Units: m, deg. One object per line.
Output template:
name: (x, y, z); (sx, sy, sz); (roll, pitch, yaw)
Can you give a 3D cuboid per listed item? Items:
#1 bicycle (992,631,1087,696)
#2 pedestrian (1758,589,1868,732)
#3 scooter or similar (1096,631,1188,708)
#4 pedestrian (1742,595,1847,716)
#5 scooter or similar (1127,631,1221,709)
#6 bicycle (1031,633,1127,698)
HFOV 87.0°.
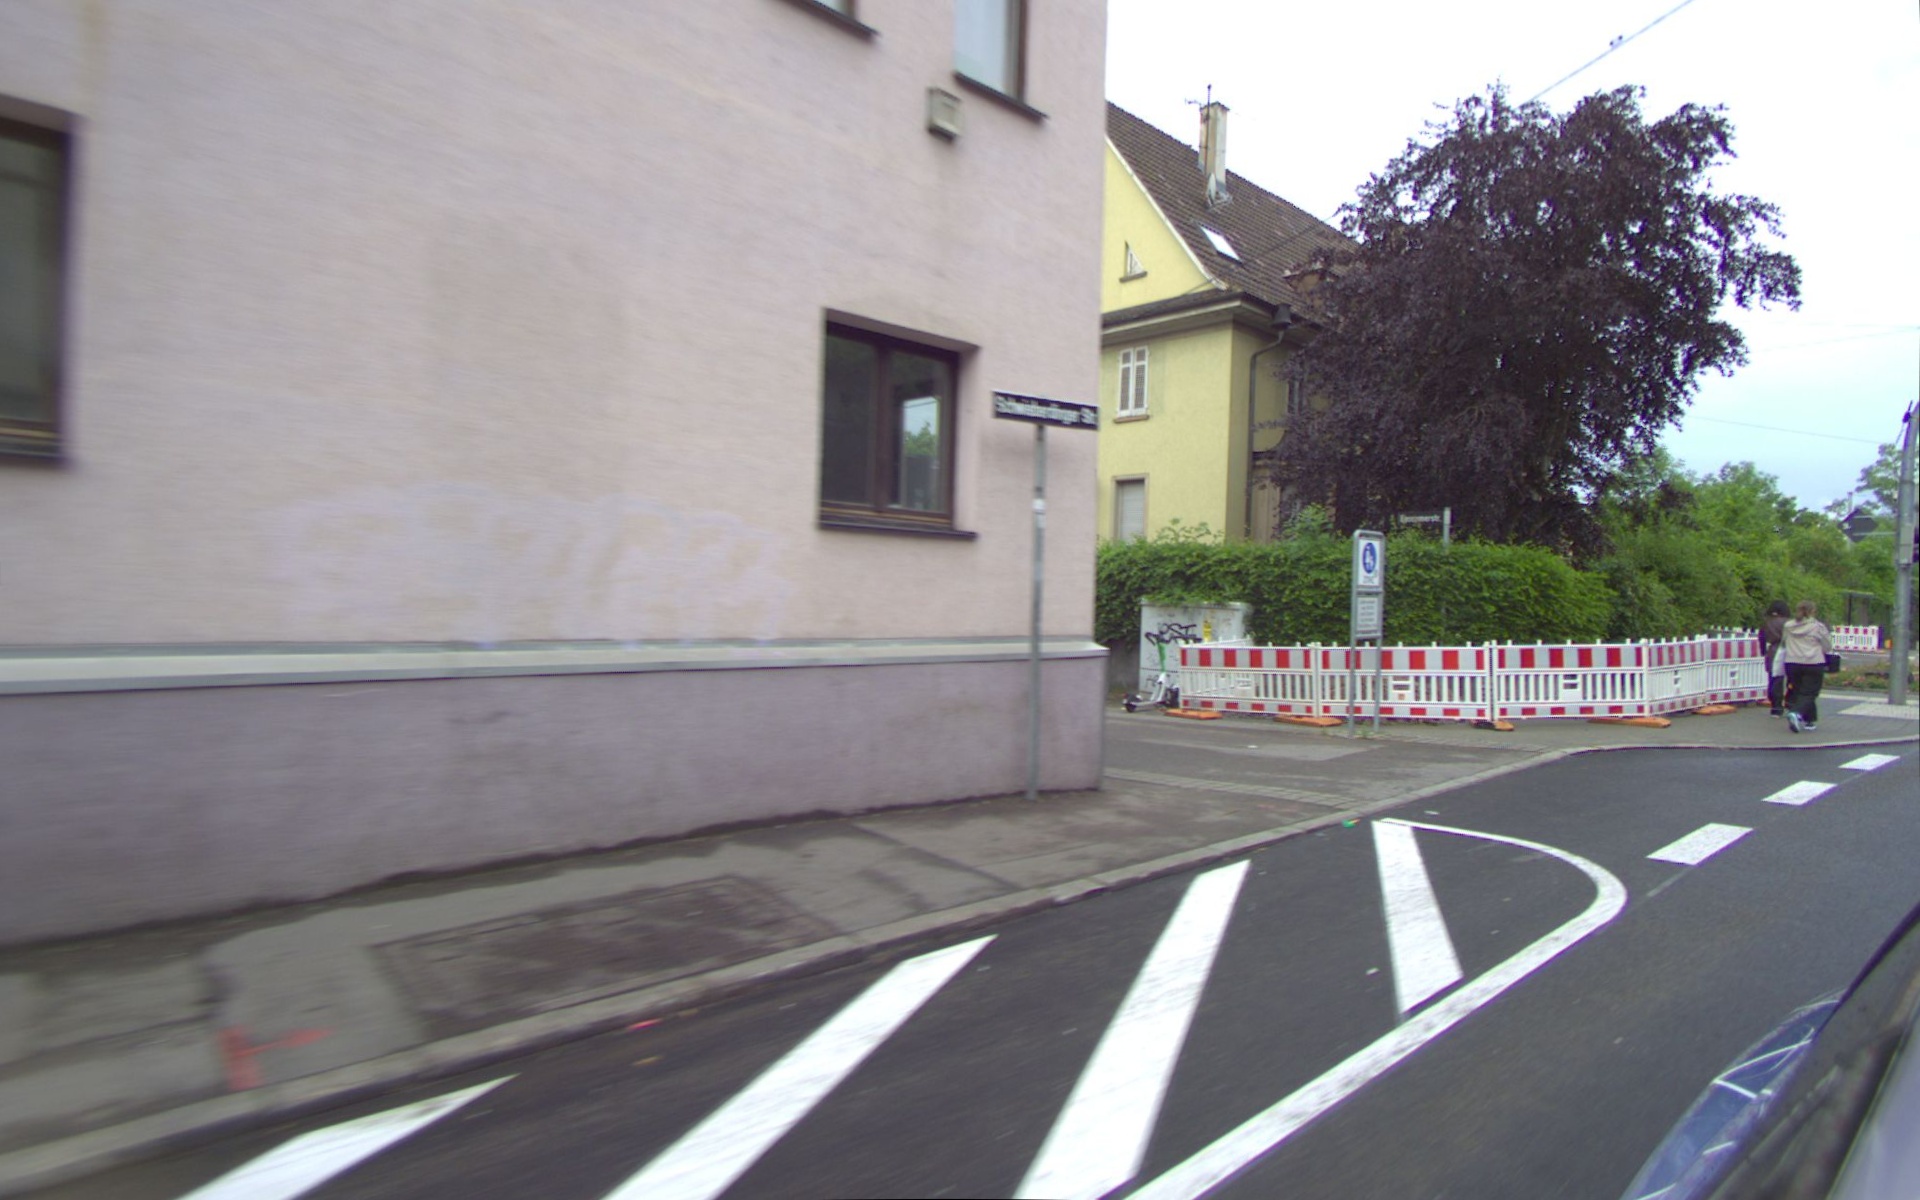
bicycle: (1.442, 1.115, 18.120); (1.993, 1.009, 0.427); (-2, 1, -42)
pedestrian: (10.495, 0.700, 12.449); (1.199, 1.662, 0.786); (0, 0, -37)
scooter or similar: (2.887, 1.067, 15.908); (1.800, 1.114, 0.421); (0, -2, -43)
pedestrian: (11.424, 0.720, 13.855); (1.029, 1.580, 0.877); (0, 0, -36)
scooter or similar: (3.272, 1.037, 15.369); (1.800, 1.093, 0.421); (0, -2, -43)
bicycle: (2.061, 1.096, 17.350); (1.993, 1.009, 0.427); (1, -1, -42)
